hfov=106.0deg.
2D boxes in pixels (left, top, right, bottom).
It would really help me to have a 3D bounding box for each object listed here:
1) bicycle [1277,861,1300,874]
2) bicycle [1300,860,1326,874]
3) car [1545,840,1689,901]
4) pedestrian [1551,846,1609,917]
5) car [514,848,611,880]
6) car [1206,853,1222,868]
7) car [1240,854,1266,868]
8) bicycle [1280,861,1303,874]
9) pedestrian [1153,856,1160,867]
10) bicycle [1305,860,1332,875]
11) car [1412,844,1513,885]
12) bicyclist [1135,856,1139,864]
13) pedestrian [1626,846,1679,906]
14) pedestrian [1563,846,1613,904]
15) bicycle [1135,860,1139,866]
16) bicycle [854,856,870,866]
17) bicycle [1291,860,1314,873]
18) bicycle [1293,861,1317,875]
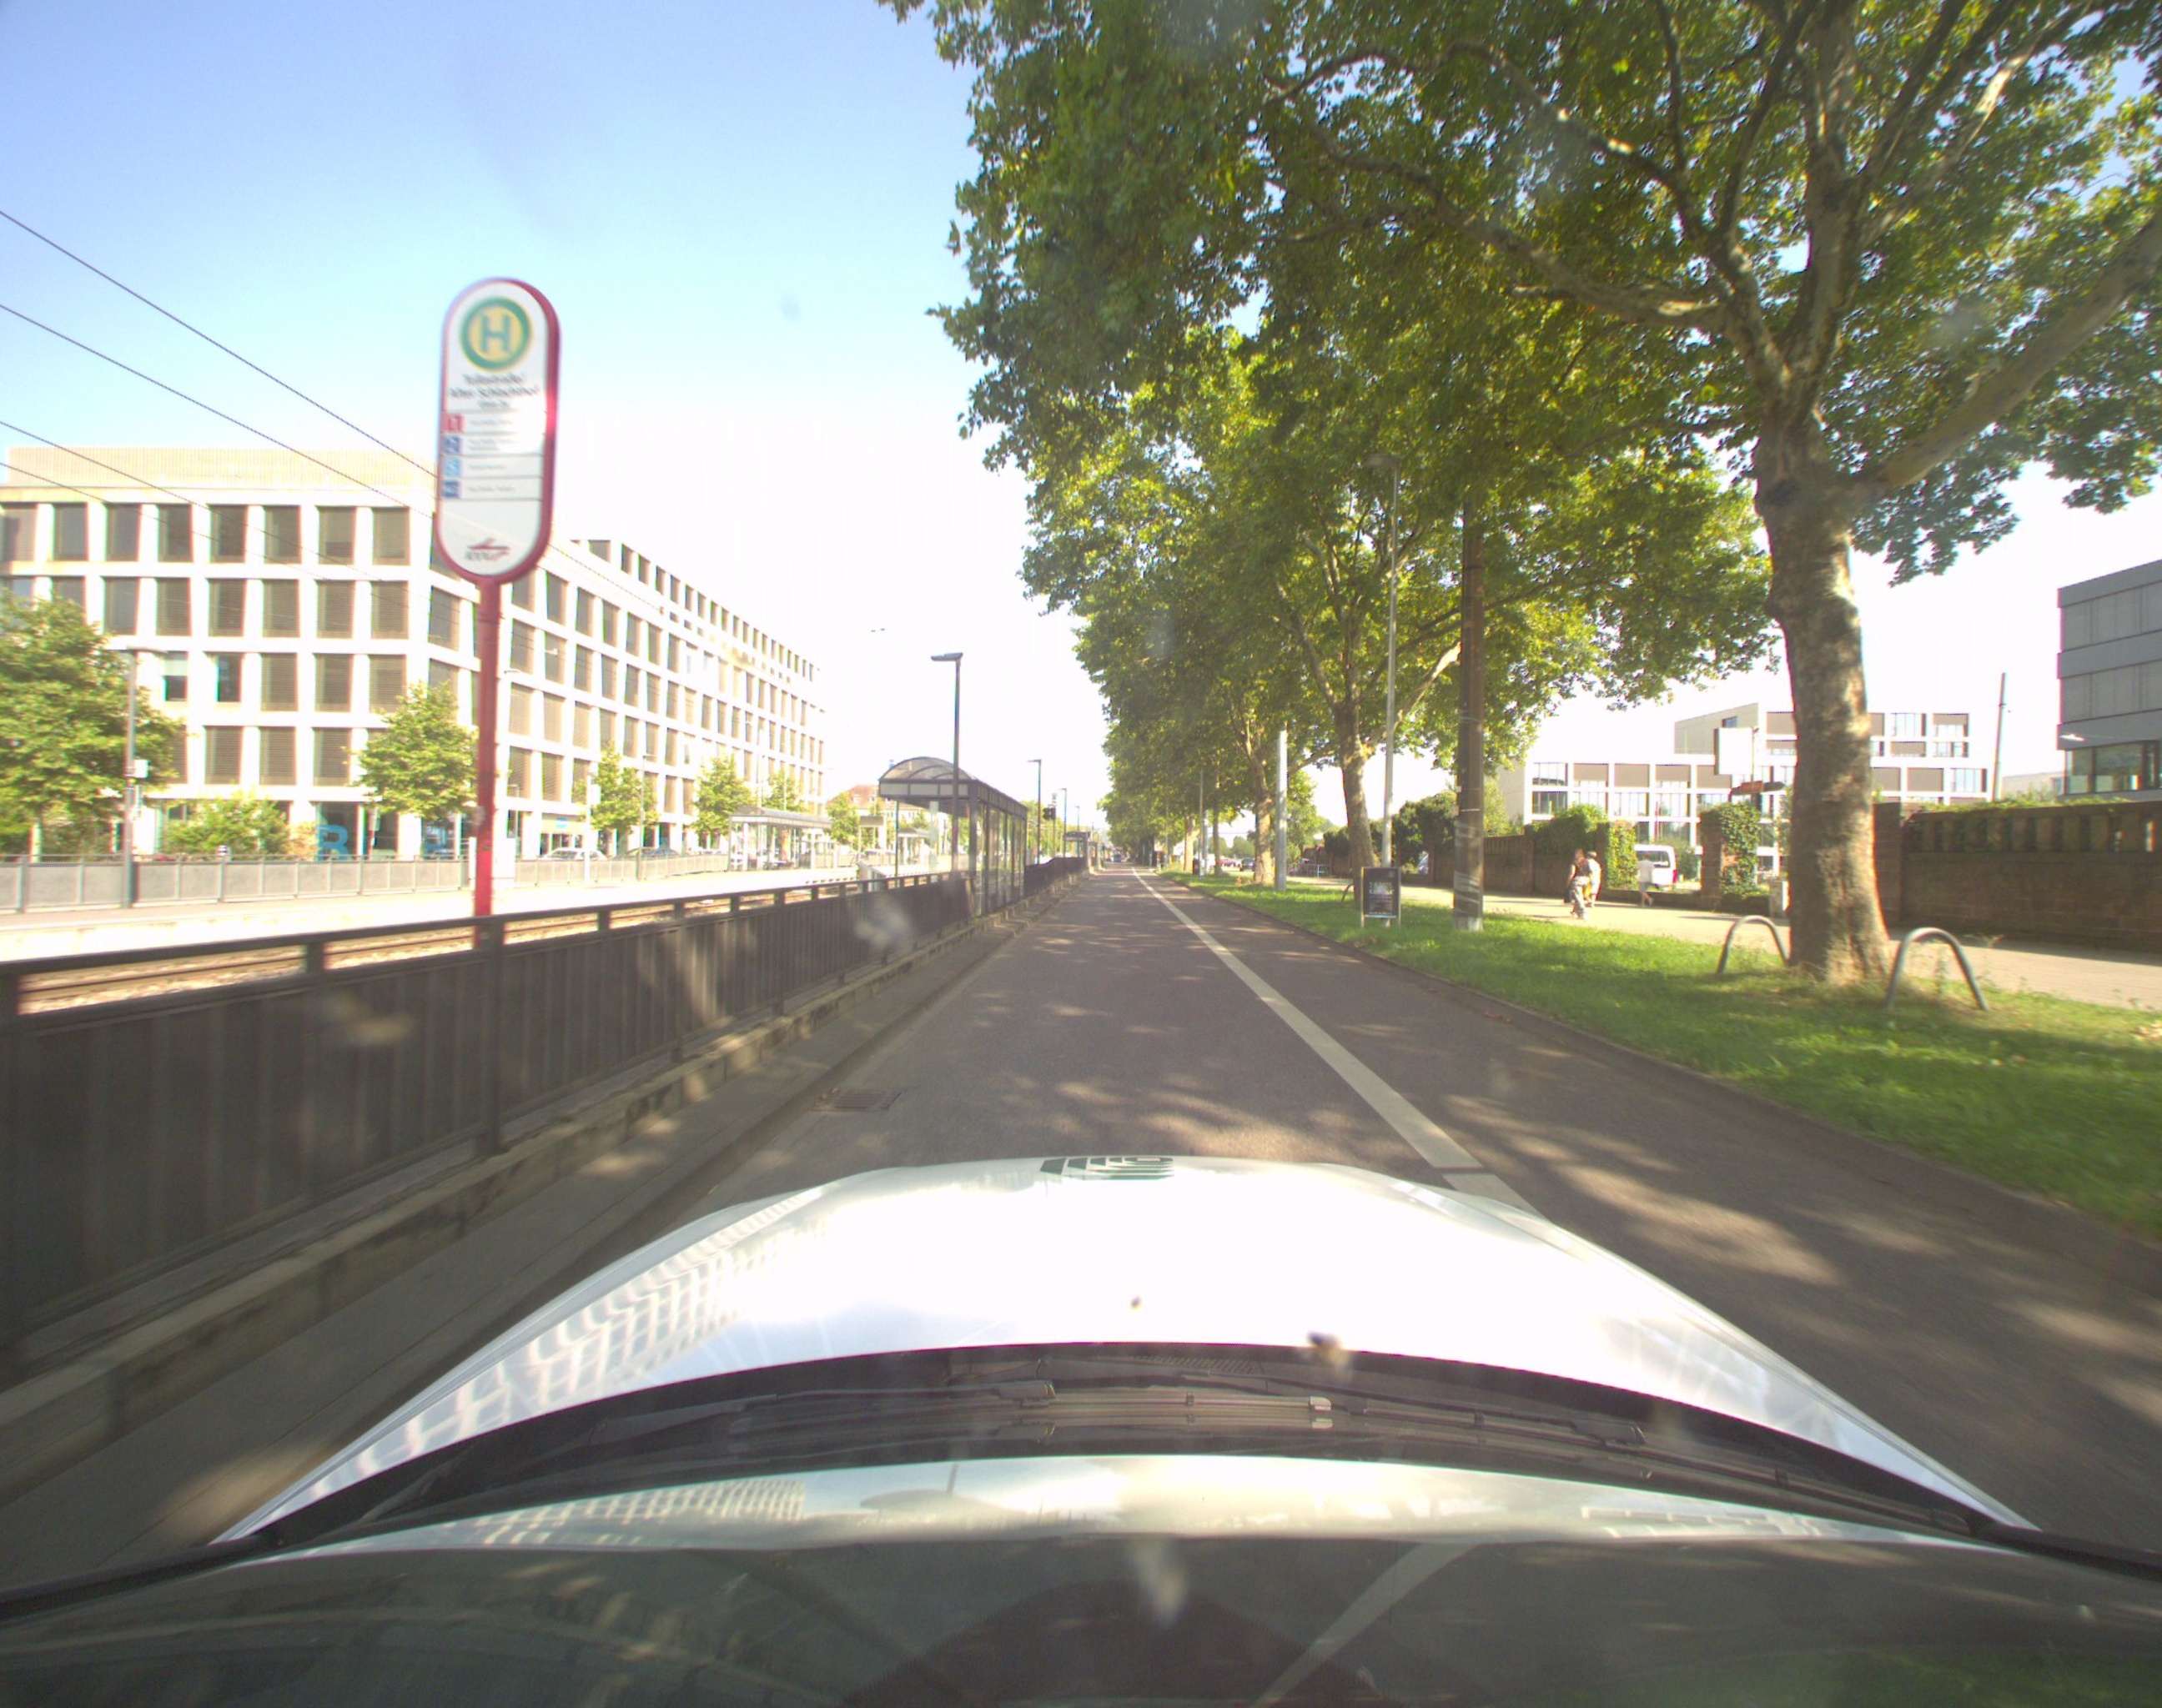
[{"bbox_3d":[15.768,1.005,61.937,0.508,0.969,1.642,-1,0,-39],"label":"bicycle"},{"bbox_3d":[15.782,0.890,55.449,1.647,0.969,0.507,-1,0,7],"label":"bicycle"},{"bbox_3d":[22.298,0.693,34.017,4.644,2.318,2.057,2,-1,2],"label":"car"},{"bbox_3d":[11.749,0.636,19.196,0.803,1.636,0.948,-1,0,3],"label":"pedestrian"},{"bbox_3d":[-23.807,0.416,37.576,1.636,1.377,4.225,1,0,2],"label":"car"},{"bbox_3d":[18.286,0.883,112.248,1.715,2.048,4.465,1,0,3],"label":"car"},{"bbox_3d":[20.940,0.873,98.972,1.705,1.679,4.275,0,0,31],"label":"car"},{"bbox_3d":[15.772,0.990,61.018,0.508,0.969,1.642,-1,0,-39],"label":"bicycle"},{"bbox_3d":[10.812,1.073,115.995,0.619,1.617,0.850,0,0,40],"label":"pedestrian"},{"bbox_3d":[15.892,0.904,54.472,1.649,0.969,0.506,-1,0,3],"label":"bicycle"},{"bbox_3d":[22.812,0.636,48.927,5.105,2.368,2.134,0,0,6],"label":"car"},{"bbox_3d":[10.493,1.181,151.444,0.703,1.461,1.010,2,-1,3],"label":"bicyclist"},{"bbox_3d":[15.791,0.594,22.516,0.803,1.604,0.948,-1,0,3],"label":"pedestrian"},{"bbox_3d":[14.253,0.581,22.917,0.803,1.604,0.948,-1,0,3],"label":"pedestrian"},{"bbox_3d":[10.480,1.703,151.490,0.712,1.107,2.510,2,0,3],"label":"bicycle"},{"bbox_3d":[-14.716,0.441,54.670,0.474,0.662,1.616,1,0,7],"label":"bicycle"},{"bbox_3d":[17.058,0.937,62.786,1.648,0.969,0.507,-1,0,4],"label":"bicycle"},{"bbox_3d":[16.089,1.001,58.484,1.647,0.969,0.507,-1,0,7],"label":"bicycle"}]
